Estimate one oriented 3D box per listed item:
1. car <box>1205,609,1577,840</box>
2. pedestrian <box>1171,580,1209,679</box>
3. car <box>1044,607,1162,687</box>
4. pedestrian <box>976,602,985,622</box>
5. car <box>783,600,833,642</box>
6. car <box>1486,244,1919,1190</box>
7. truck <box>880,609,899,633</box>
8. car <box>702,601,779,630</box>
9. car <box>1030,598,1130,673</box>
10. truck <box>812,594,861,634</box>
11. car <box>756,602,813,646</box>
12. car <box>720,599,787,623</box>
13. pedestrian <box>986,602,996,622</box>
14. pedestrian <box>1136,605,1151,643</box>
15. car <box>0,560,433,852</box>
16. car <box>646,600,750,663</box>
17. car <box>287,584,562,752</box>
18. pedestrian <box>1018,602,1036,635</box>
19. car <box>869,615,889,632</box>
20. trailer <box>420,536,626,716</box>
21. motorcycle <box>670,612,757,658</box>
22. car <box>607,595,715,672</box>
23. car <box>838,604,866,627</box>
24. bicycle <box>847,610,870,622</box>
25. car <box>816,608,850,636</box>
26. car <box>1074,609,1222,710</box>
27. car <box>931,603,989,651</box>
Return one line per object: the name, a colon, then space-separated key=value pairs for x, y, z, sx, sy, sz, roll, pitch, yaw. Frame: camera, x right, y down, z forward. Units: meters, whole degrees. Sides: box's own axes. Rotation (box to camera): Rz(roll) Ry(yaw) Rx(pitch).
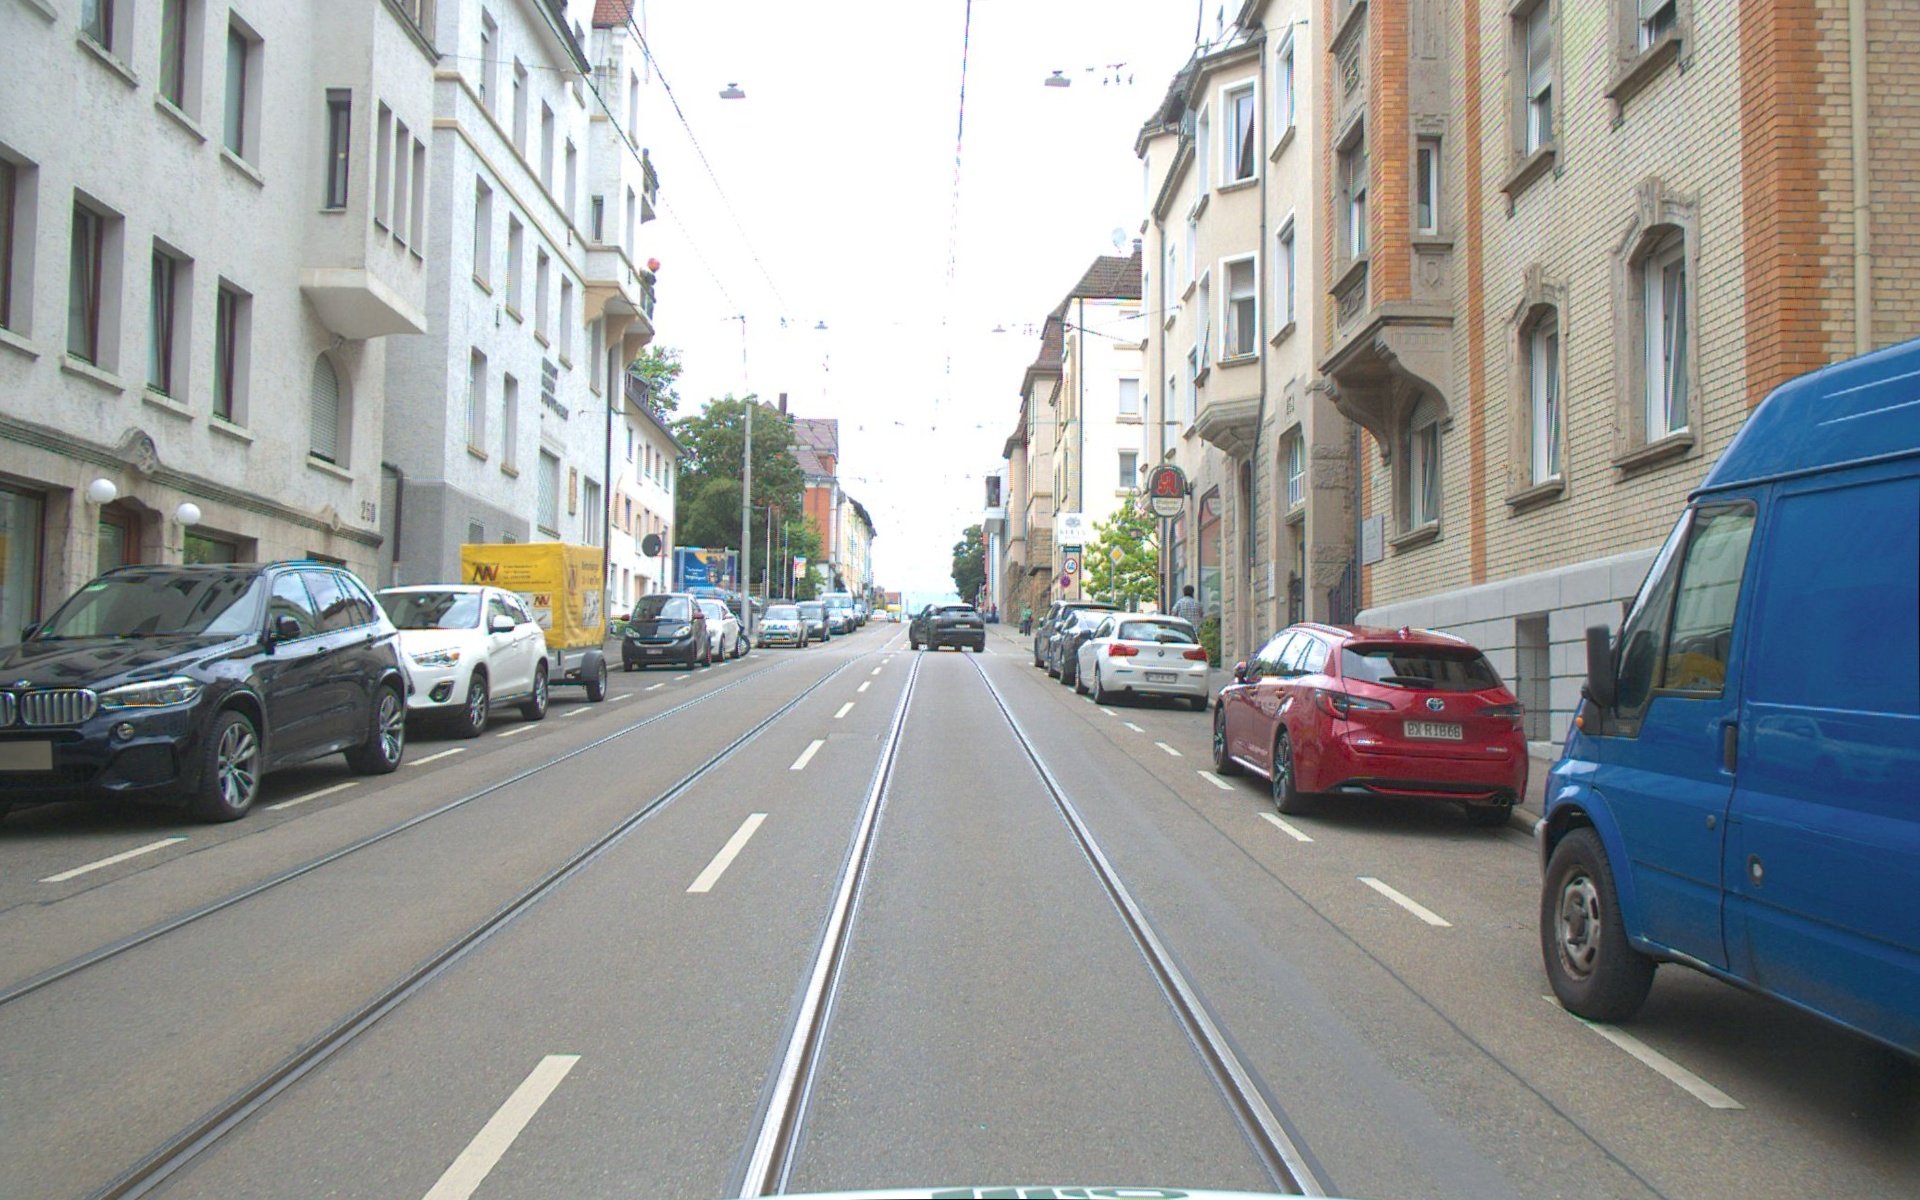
car: x=3.312 y=0.871 z=13.671 sx=1.744 sy=1.501 sz=4.588 roll=3 pitch=0 yaw=-1
pedestrian: x=4.312 y=0.555 z=31.039 sx=0.587 sy=1.834 sz=0.631 roll=1 pitch=-1 yaw=-1
car: x=2.790 y=0.885 z=33.148 sx=1.744 sy=1.415 sz=4.690 roll=3 pitch=0 yaw=-2
pedestrian: x=1.781 y=1.031 z=143.831 sx=0.775 sy=1.696 sz=0.799 roll=1 pitch=0 yaw=1
car: x=-6.695 y=0.920 z=73.149 sx=1.708 sy=1.766 sz=4.519 roll=-1 pitch=0 yaw=1
car: x=3.422 y=0.316 z=5.003 sx=1.953 sy=2.418 sz=5.055 roll=1 pitch=-1 yaw=-1
truck: x=-9.320 y=2.732 z=219.153 sx=2.255 sy=3.090 sz=9.031 roll=1 pitch=-1 yaw=-1
car: x=-12.089 y=0.845 z=91.240 sx=3.978 sy=1.470 sz=1.687 roll=1 pitch=0 yaw=-2
car: x=2.718 y=0.786 z=38.389 sx=1.700 sy=1.564 sz=4.571 roll=3 pitch=0 yaw=-3
truck: x=-7.289 y=0.831 z=98.315 sx=2.233 sy=2.226 sz=8.024 roll=1 pitch=0 yaw=0
car: x=-6.543 y=0.873 z=62.018 sx=1.662 sy=1.583 sz=3.850 roll=1 pitch=0 yaw=1
car: x=-12.300 y=0.646 z=98.596 sx=3.797 sy=1.381 sz=1.687 roll=1 pitch=0 yaw=-2
pedestrian: x=2.702 y=1.060 z=143.818 sx=0.775 sy=1.696 sz=0.799 roll=1 pitch=0 yaw=1
pedestrian: x=7.846 y=1.031 z=70.695 sx=0.547 sy=1.610 sz=0.685 roll=1 pitch=-1 yaw=0
car: x=-5.585 y=0.619 z=12.181 sx=1.835 sy=1.693 sz=4.891 roll=-1 pitch=0 yaw=0
car: x=-6.167 y=0.717 z=39.315 sx=1.743 sy=1.381 sz=4.291 roll=1 pitch=0 yaw=0
car: x=-5.803 y=0.660 z=18.469 sx=1.662 sy=1.621 sz=4.268 roll=-1 pitch=0 yaw=0
pedestrian: x=3.523 y=0.980 z=86.649 sx=0.853 sy=1.716 sz=0.663 roll=-1 pitch=-1 yaw=-3
car: x=-8.134 y=2.377 z=166.398 sx=1.817 sy=1.635 sz=4.296 roll=1 pitch=0 yaw=-1
trailer: x=-5.859 y=0.311 z=22.655 sx=1.713 sy=2.193 sz=4.071 roll=-1 pitch=0 yaw=0
motorcycle: x=-6.325 y=0.906 z=42.509 sx=2.063 sy=1.154 sz=0.767 roll=-1 pitch=0 yaw=13
car: x=-6.126 y=0.666 z=34.165 sx=1.662 sy=1.494 sz=3.023 roll=-1 pitch=0 yaw=0
car: x=-7.391 y=1.048 z=113.312 sx=1.677 sy=1.472 sz=4.289 roll=1 pitch=0 yaw=0
bicycle: x=-8.382 y=1.323 z=136.731 sx=1.872 sy=1.017 sz=0.479 roll=1 pitch=0 yaw=-1
car: x=-6.998 y=1.178 z=91.375 sx=1.663 sy=1.458 sz=4.479 roll=-1 pitch=0 yaw=-2
car: x=2.953 y=0.906 z=26.838 sx=1.715 sy=1.415 sz=4.306 roll=3 pitch=0 yaw=-2
car: x=-0.015 y=0.914 z=58.406 sx=1.953 sy=1.590 sz=4.289 roll=1 pitch=0 yaw=0
